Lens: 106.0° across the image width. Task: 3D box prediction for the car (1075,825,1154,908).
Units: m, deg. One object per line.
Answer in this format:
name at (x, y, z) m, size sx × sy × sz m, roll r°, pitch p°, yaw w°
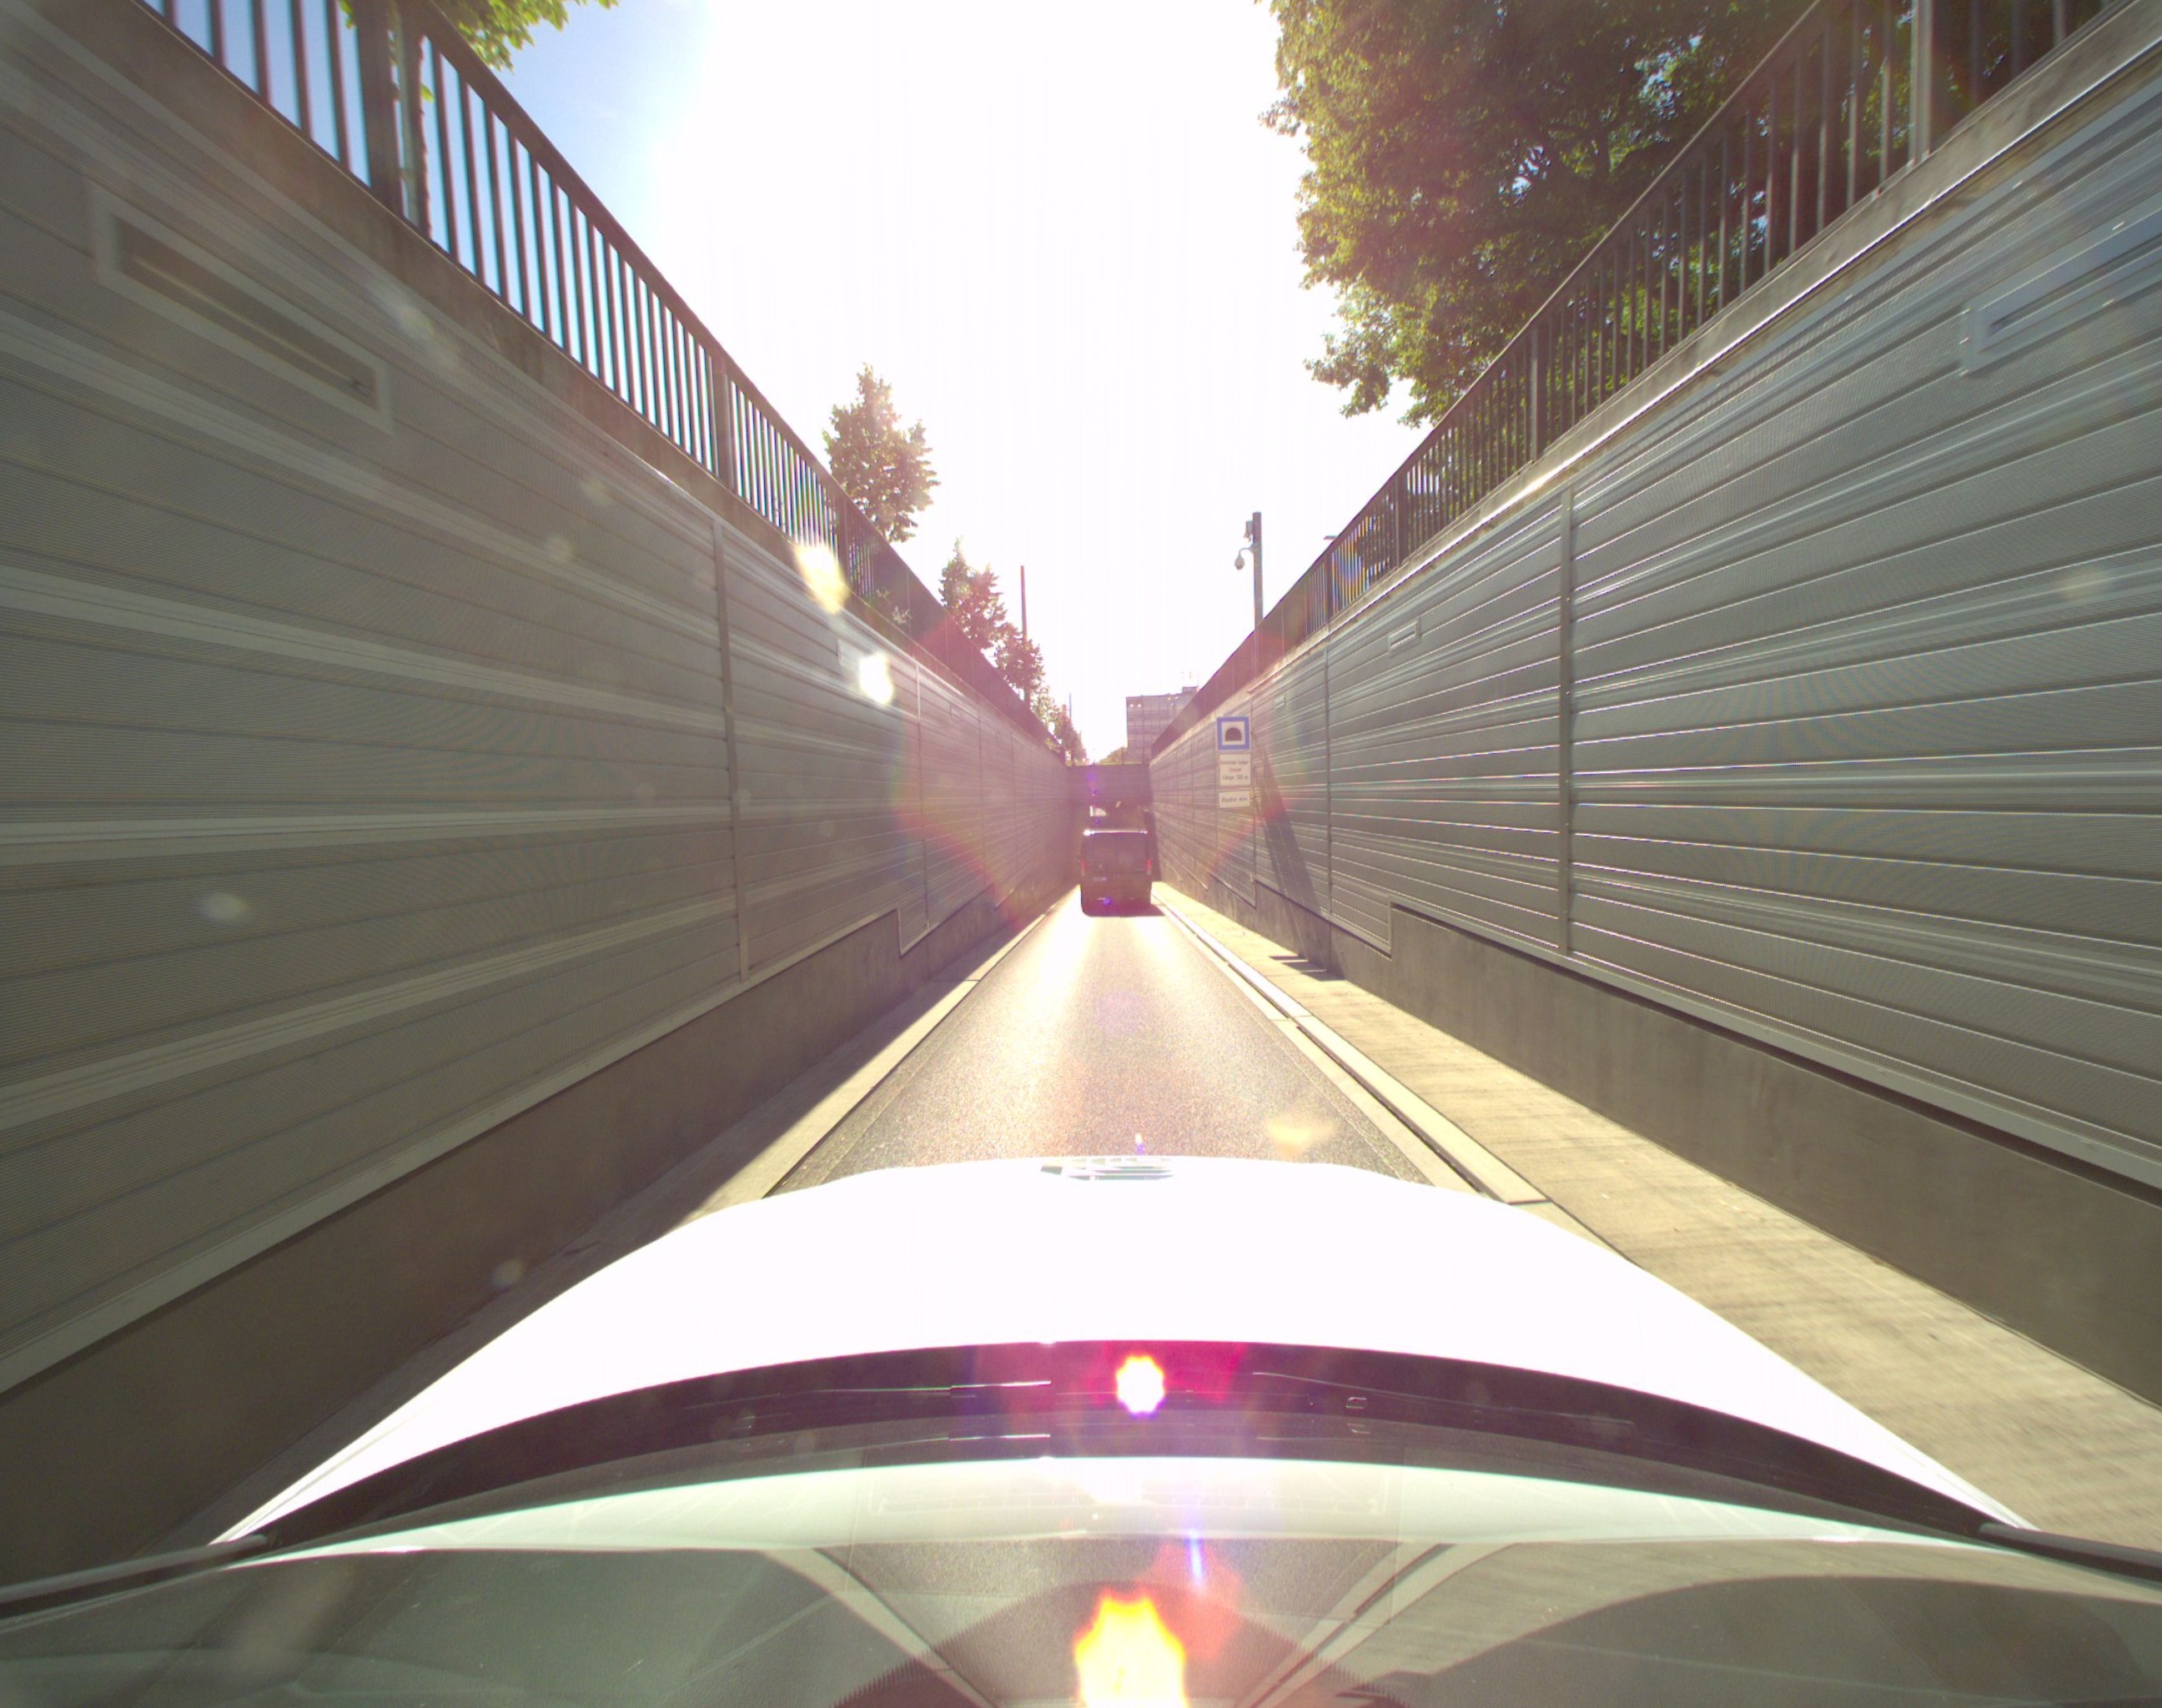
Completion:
car at (1.026, 0.325, 24.801) m, size 2.150 × 2.266 × 4.639 m, roll 0°, pitch 0°, yaw 2°
